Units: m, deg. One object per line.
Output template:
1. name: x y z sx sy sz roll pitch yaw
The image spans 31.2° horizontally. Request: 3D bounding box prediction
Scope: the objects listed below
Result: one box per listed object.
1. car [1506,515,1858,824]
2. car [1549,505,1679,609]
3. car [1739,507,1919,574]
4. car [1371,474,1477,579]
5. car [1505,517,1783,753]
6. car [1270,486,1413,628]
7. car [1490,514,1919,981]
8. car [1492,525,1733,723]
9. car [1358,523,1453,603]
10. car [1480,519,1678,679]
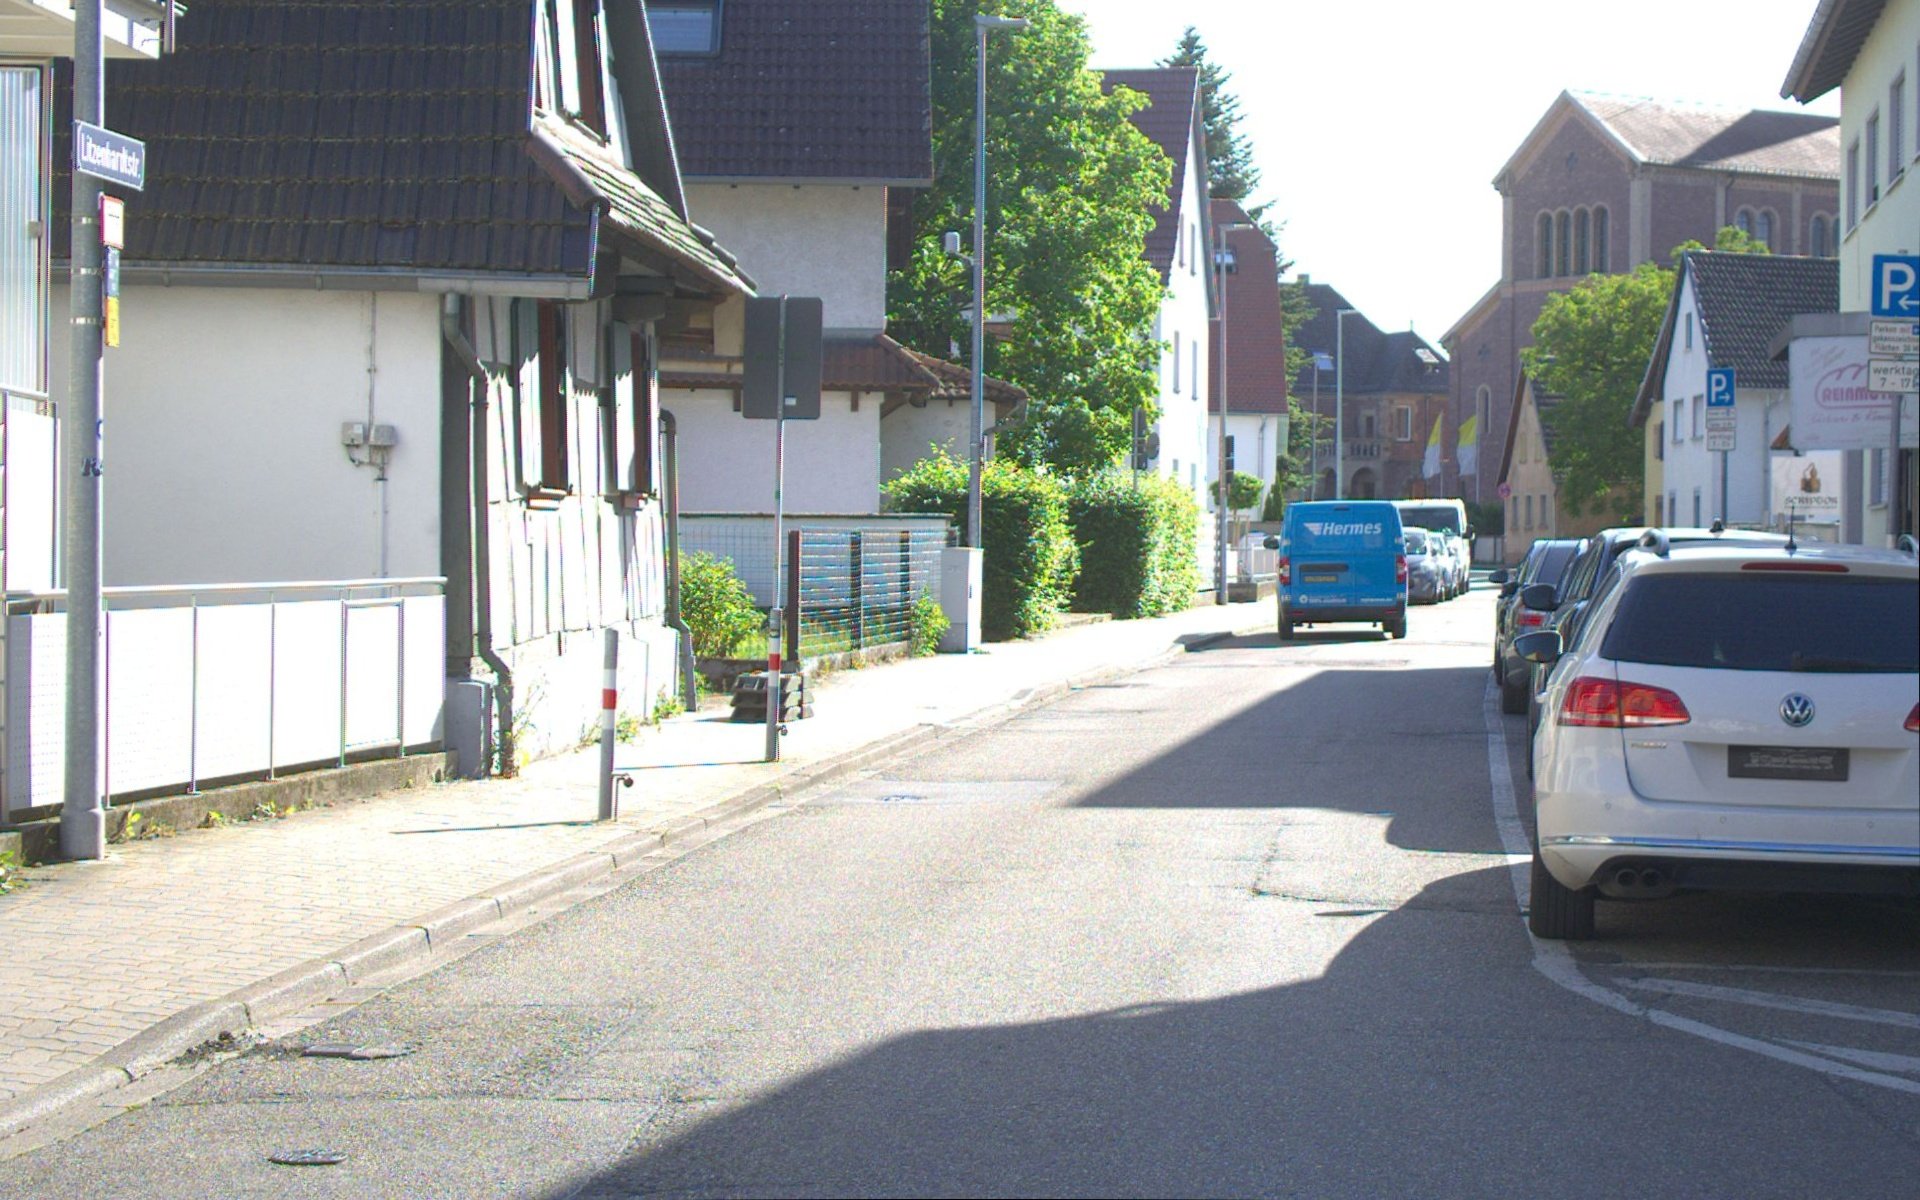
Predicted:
1. car: 4.002 0.302 19.558 1.610 1.515 3.970 2 2 8
2. car: 9.976 -0.679 52.257 1.812 1.470 4.657 2 2 12
3. car: 20.008 -1.366 78.966 3.916 1.487 1.845 0 1 20
4. car: 11.271 -1.787 83.185 2.198 2.381 6.062 -1 1 11
5. car: 4.763 0.180 24.339 1.726 1.470 3.874 2 2 9
6. car: 5.485 -0.643 49.095 1.903 1.911 5.069 -1 1 7
7. car: 3.129 0.431 13.605 1.847 1.508 4.504 1 2 11
8. car: 5.477 0.137 29.221 1.809 1.470 4.443 2 2 9
9. car: 9.263 -0.790 71.302 1.715 1.593 3.924 0 1 11
10. car: 6.293 -0.040 35.321 1.809 1.470 4.842 2 1 9
